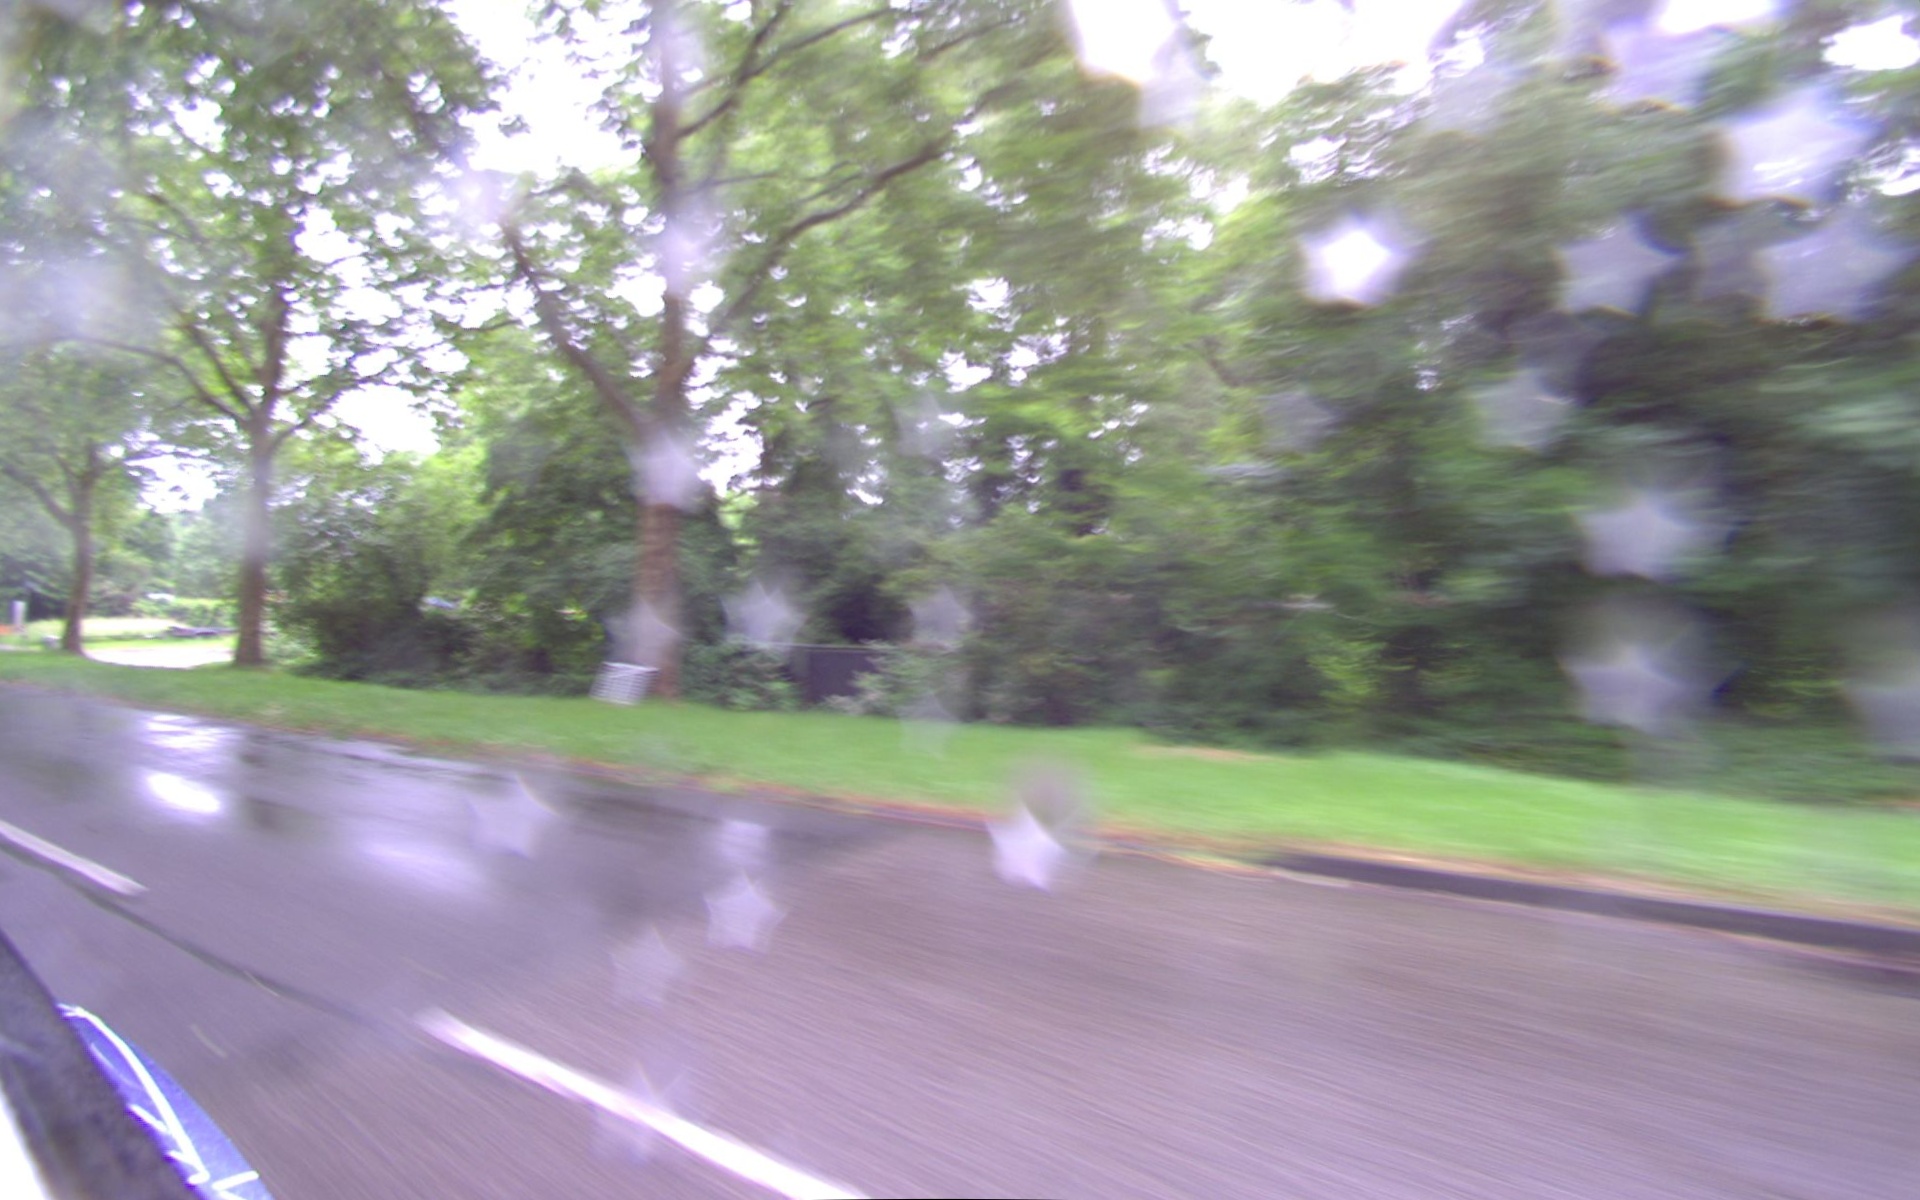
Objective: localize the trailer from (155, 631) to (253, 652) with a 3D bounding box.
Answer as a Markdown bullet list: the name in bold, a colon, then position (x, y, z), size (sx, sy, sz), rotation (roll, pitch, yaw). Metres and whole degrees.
- **trailer**: position (-45.849, 2.519, 61.430), size (2.378, 1.040, 4.276), rotation (0, 0, 37)

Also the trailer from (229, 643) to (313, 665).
- **trailer**: position (-32.919, 2.576, 48.381), size (1.677, 0.844, 2.997), rotation (1, 0, 41)

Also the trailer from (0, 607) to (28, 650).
- **trailer**: position (-64.261, 1.860, 67.152), size (6.648, 2.684, 2.769), rotation (0, 0, 40)

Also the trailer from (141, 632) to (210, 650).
- **trailer**: position (-48.788, 2.522, 62.970), size (1.766, 0.952, 3.045), rotation (0, 0, 38)
